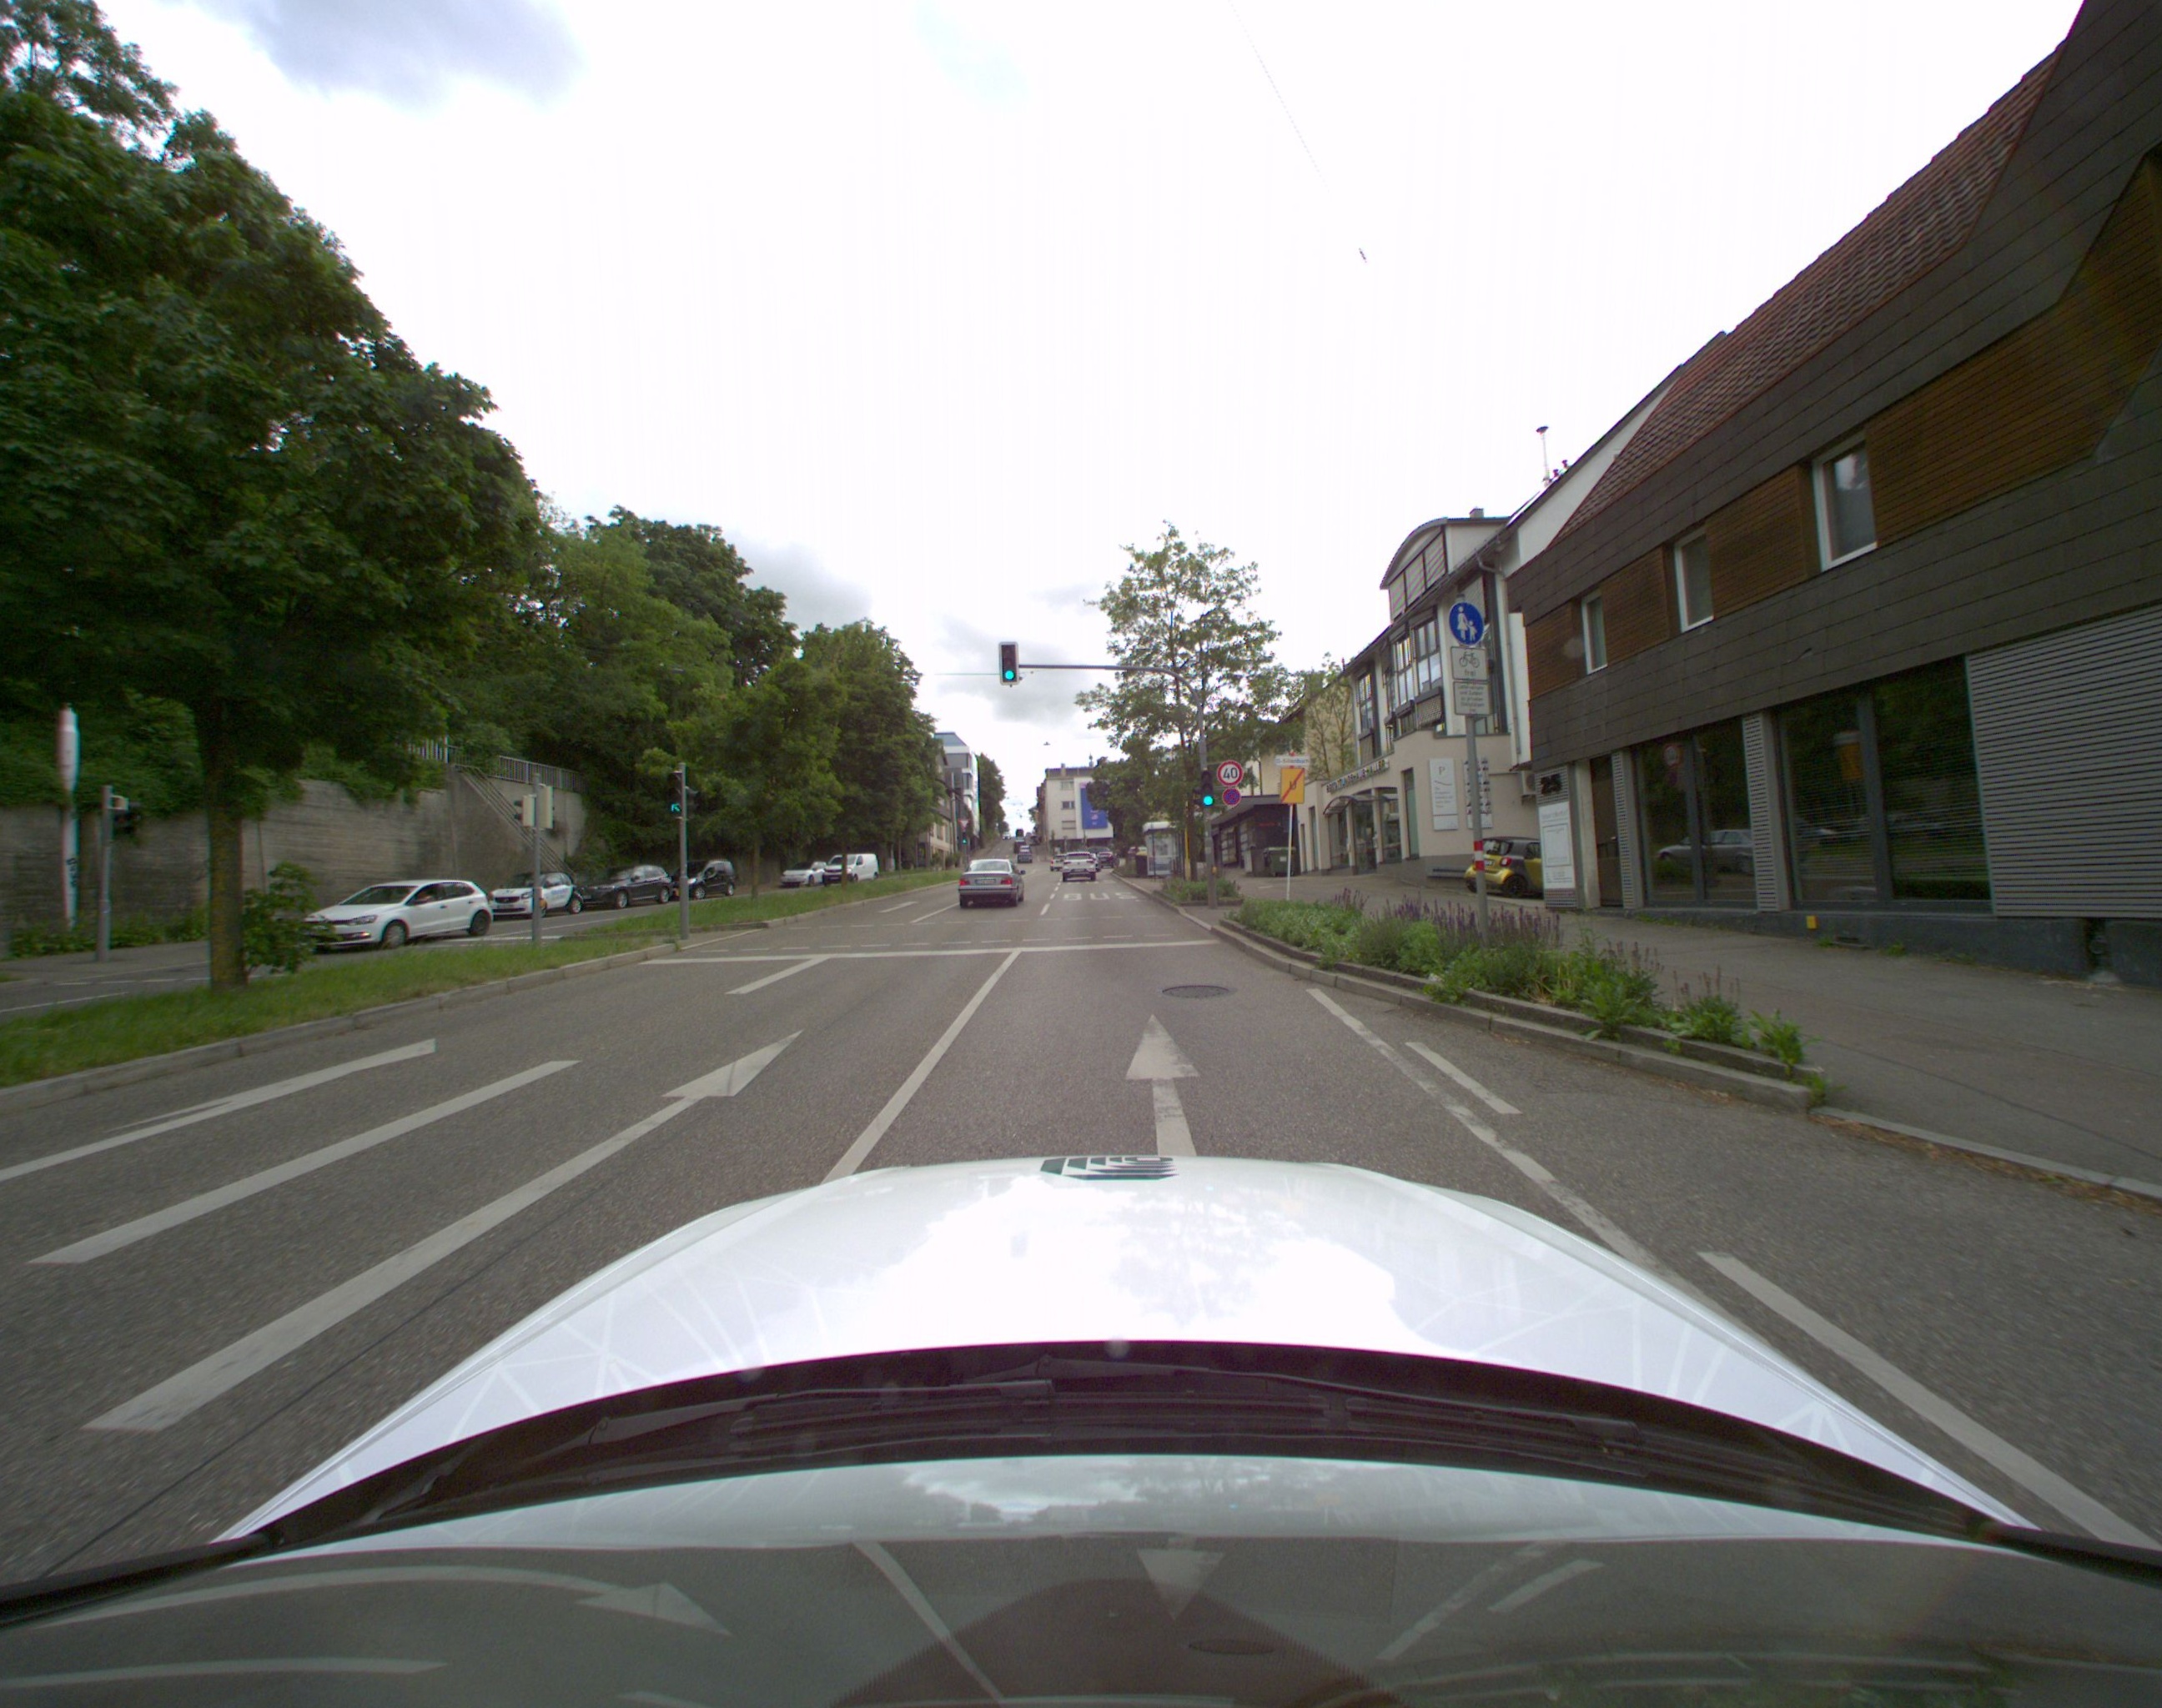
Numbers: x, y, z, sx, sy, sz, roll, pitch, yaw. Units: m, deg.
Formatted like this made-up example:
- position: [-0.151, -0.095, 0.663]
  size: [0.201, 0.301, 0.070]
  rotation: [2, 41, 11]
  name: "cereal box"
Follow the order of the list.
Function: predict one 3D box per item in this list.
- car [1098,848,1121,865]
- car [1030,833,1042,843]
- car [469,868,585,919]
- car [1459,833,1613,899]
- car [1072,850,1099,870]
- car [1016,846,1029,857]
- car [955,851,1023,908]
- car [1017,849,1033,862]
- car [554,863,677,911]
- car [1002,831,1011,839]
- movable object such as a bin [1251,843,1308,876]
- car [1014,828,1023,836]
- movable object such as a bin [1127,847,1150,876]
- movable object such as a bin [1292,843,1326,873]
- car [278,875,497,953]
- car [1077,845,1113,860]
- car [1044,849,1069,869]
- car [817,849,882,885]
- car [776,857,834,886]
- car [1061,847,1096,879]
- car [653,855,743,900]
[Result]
- position: [2.628, 0.185, 74.550]
  size: [1.785, 1.409, 4.008]
  rotation: [-1, 1, 7]
  name: "car"
- position: [-7.984, -2.781, 145.049]
  size: [2.084, 1.613, 3.996]
  rotation: [-2, 0, -3]
  name: "car"
- position: [-18.625, 1.290, 27.556]
  size: [1.775, 1.498, 3.096]
  rotation: [-1, 1, -1]
  name: "car"
- position: [11.650, 0.275, 20.948]
  size: [2.987, 1.463, 1.663]
  rotation: [3, 1, -6]
  name: "car"
- position: [0.386, 0.409, 62.296]
  size: [1.771, 1.409, 4.006]
  rotation: [-1, 1, 5]
  name: "car"
- position: [-8.787, -0.453, 122.441]
  size: [1.776, 1.579, 3.995]
  rotation: [-2, 1, -4]
  name: "car"
- position: [-2.644, 0.681, 24.195]
  size: [1.702, 1.464, 3.997]
  rotation: [-1, 1, -2]
  name: "car"
- position: [-6.868, 0.164, 100.034]
  size: [1.776, 1.579, 3.995]
  rotation: [-1, 1, -4]
  name: "car"
- position: [-18.229, 1.248, 32.178]
  size: [1.960, 1.656, 4.537]
  rotation: [-1, 0, 4]
  name: "car"
- position: [-16.482, -4.268, 180.625]
  size: [1.879, 1.567, 4.384]
  rotation: [-3, 3, -4]
  name: "car"
- position: [9.630, 0.227, 39.805]
  size: [1.881, 1.451, 4.002]
  rotation: [-2, 0, 2]
  name: "movable object such as a bin"
- position: [-15.103, -5.277, 196.714]
  size: [1.990, 2.013, 3.995]
  rotation: [-1, 1, -4]
  name: "car"
- position: [3.027, 0.366, 42.822]
  size: [1.082, 1.481, 1.537]
  rotation: [-2, 0, 1]
  name: "movable object such as a bin"
- position: [11.026, 0.175, 39.392]
  size: [1.335, 1.409, 1.128]
  rotation: [-2, 0, 1]
  name: "movable object such as a bin"
- position: [-15.766, 1.298, 18.805]
  size: [1.723, 1.428, 3.791]
  rotation: [-1, 1, 1]
  name: "car"
- position: [1.845, -0.189, 110.107]
  size: [4.679, 1.712, 2.316]
  rotation: [2, 3, -4]
  name: "car"
- position: [-2.093, 0.416, 70.373]
  size: [1.772, 1.579, 4.003]
  rotation: [-2, 1, 3]
  name: "car"
- position: [-13.848, 0.708, 49.031]
  size: [1.928, 1.957, 5.031]
  rotation: [-2, 1, 6]
  name: "car"
- position: [-17.009, 1.042, 50.414]
  size: [1.771, 1.628, 4.177]
  rotation: [-1, 1, 5]
  name: "car"
- position: [-0.150, 0.447, 43.861]
  size: [1.775, 1.579, 3.999]
  rotation: [-2, 1, -1]
  name: "car"
- position: [-17.562, 1.030, 37.631]
  size: [1.772, 1.843, 4.492]
  rotation: [-1, 1, 3]
  name: "car"
